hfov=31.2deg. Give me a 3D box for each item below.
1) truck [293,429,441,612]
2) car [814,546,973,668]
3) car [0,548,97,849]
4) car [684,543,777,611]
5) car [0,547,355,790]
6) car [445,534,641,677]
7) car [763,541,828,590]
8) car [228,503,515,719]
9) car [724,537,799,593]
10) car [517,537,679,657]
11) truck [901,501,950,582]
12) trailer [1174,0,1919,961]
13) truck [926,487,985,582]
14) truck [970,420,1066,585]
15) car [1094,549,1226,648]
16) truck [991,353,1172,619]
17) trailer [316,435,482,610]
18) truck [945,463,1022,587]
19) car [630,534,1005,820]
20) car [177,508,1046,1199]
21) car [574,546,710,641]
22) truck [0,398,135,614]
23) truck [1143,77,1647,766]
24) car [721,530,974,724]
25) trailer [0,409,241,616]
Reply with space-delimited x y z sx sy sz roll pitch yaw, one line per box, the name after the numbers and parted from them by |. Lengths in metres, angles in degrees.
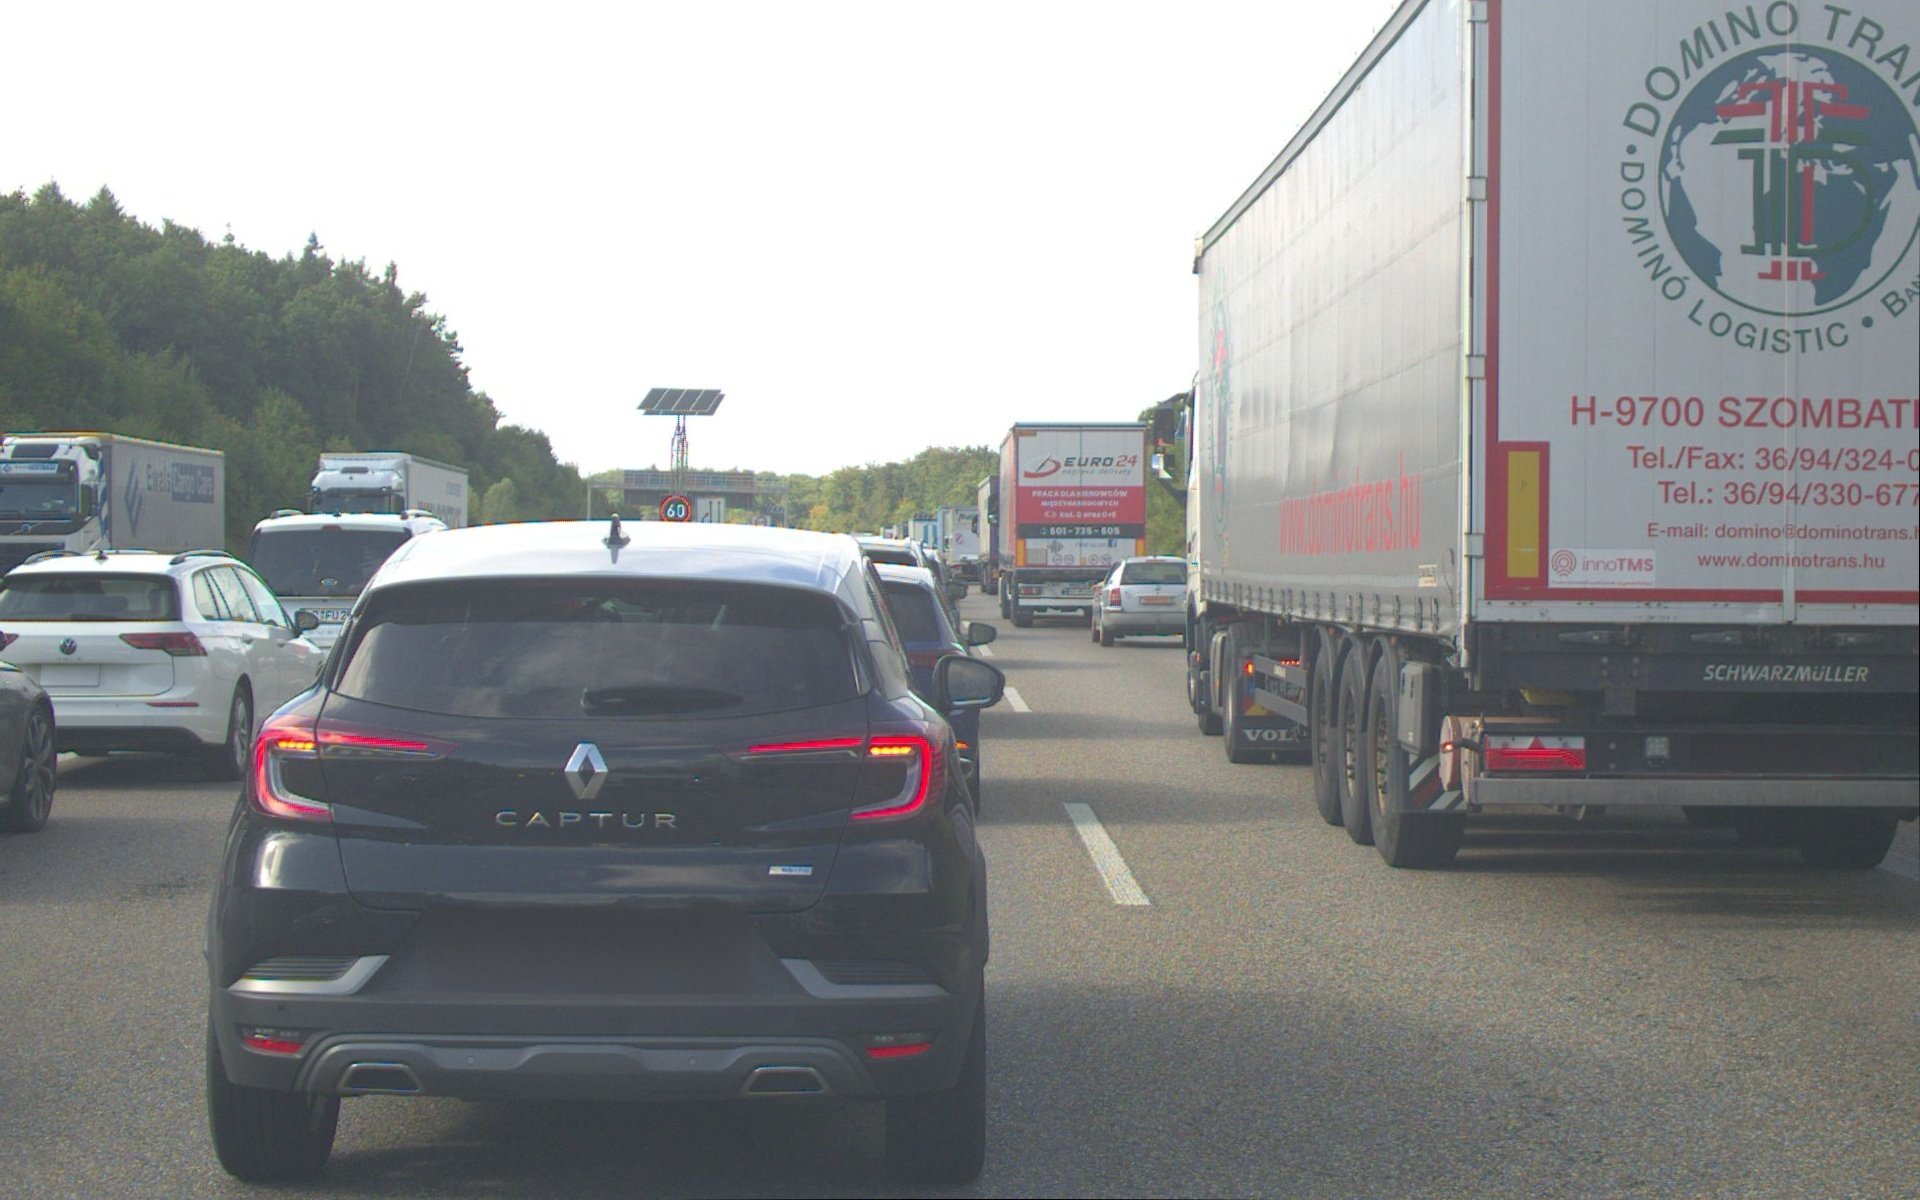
-17.141 -2.264 99.784 3.088 5.083 7.142 1 0 -1 | truck
-0.835 0.075 45.498 1.993 1.509 4.000 1 0 0 | car
-5.576 0.483 16.137 1.843 1.451 4.748 1 1 0 | car
-5.596 -0.593 84.367 1.993 1.607 4.000 1 1 0 | car
-5.349 0.392 22.925 1.804 1.456 4.308 0 0 1 | car
-5.032 0.047 41.985 1.855 1.635 3.925 1 0 1 | car
-5.590 -1.198 117.354 1.993 1.607 4.000 1 1 0 | car
-5.232 0.074 31.098 1.911 1.783 4.418 1 0 -1 | car
-5.910 -1.065 102.632 1.993 1.607 4.000 1 1 0 | car
-5.411 -0.055 51.865 1.993 1.716 4.000 1 0 0 | car
-2.383 -4.035 241.452 3.166 5.486 12.737 1 0 0 | truck
3.207 -1.139 19.000 3.002 4.645 13.291 1 1 -1 | trailer
-0.179 -3.645 194.961 3.166 5.142 12.737 1 0 0 | truck
1.993 -3.311 121.784 3.166 5.486 12.737 1 0 0 | truck
3.196 -0.036 55.583 1.804 1.527 3.926 1 0 -1 | car
2.363 -2.220 71.882 3.365 5.027 12.737 1 0 0 | truck
-17.252 -2.311 106.789 3.088 5.056 13.836 1 0 -1 | trailer
1.175 -3.401 160.234 3.167 5.486 12.737 1 0 2 | truck
-0.762 0.400 20.471 1.993 1.509 4.000 1 0 0 | car
-0.693 0.555 9.283 1.805 1.547 4.000 0 1 2 | car
-5.567 -0.126 60.664 1.993 1.607 4.000 1 0 0 | car
-21.256 -2.152 80.113 2.931 4.842 4.766 1 0 -1 | truck
3.112 -1.258 26.298 2.997 4.651 5.940 0 1 -1 | truck
-0.892 0.200 29.343 1.993 1.509 4.000 1 0 0 | car
-21.314 -2.107 87.919 2.927 4.813 14.655 1 0 -1 | trailer
